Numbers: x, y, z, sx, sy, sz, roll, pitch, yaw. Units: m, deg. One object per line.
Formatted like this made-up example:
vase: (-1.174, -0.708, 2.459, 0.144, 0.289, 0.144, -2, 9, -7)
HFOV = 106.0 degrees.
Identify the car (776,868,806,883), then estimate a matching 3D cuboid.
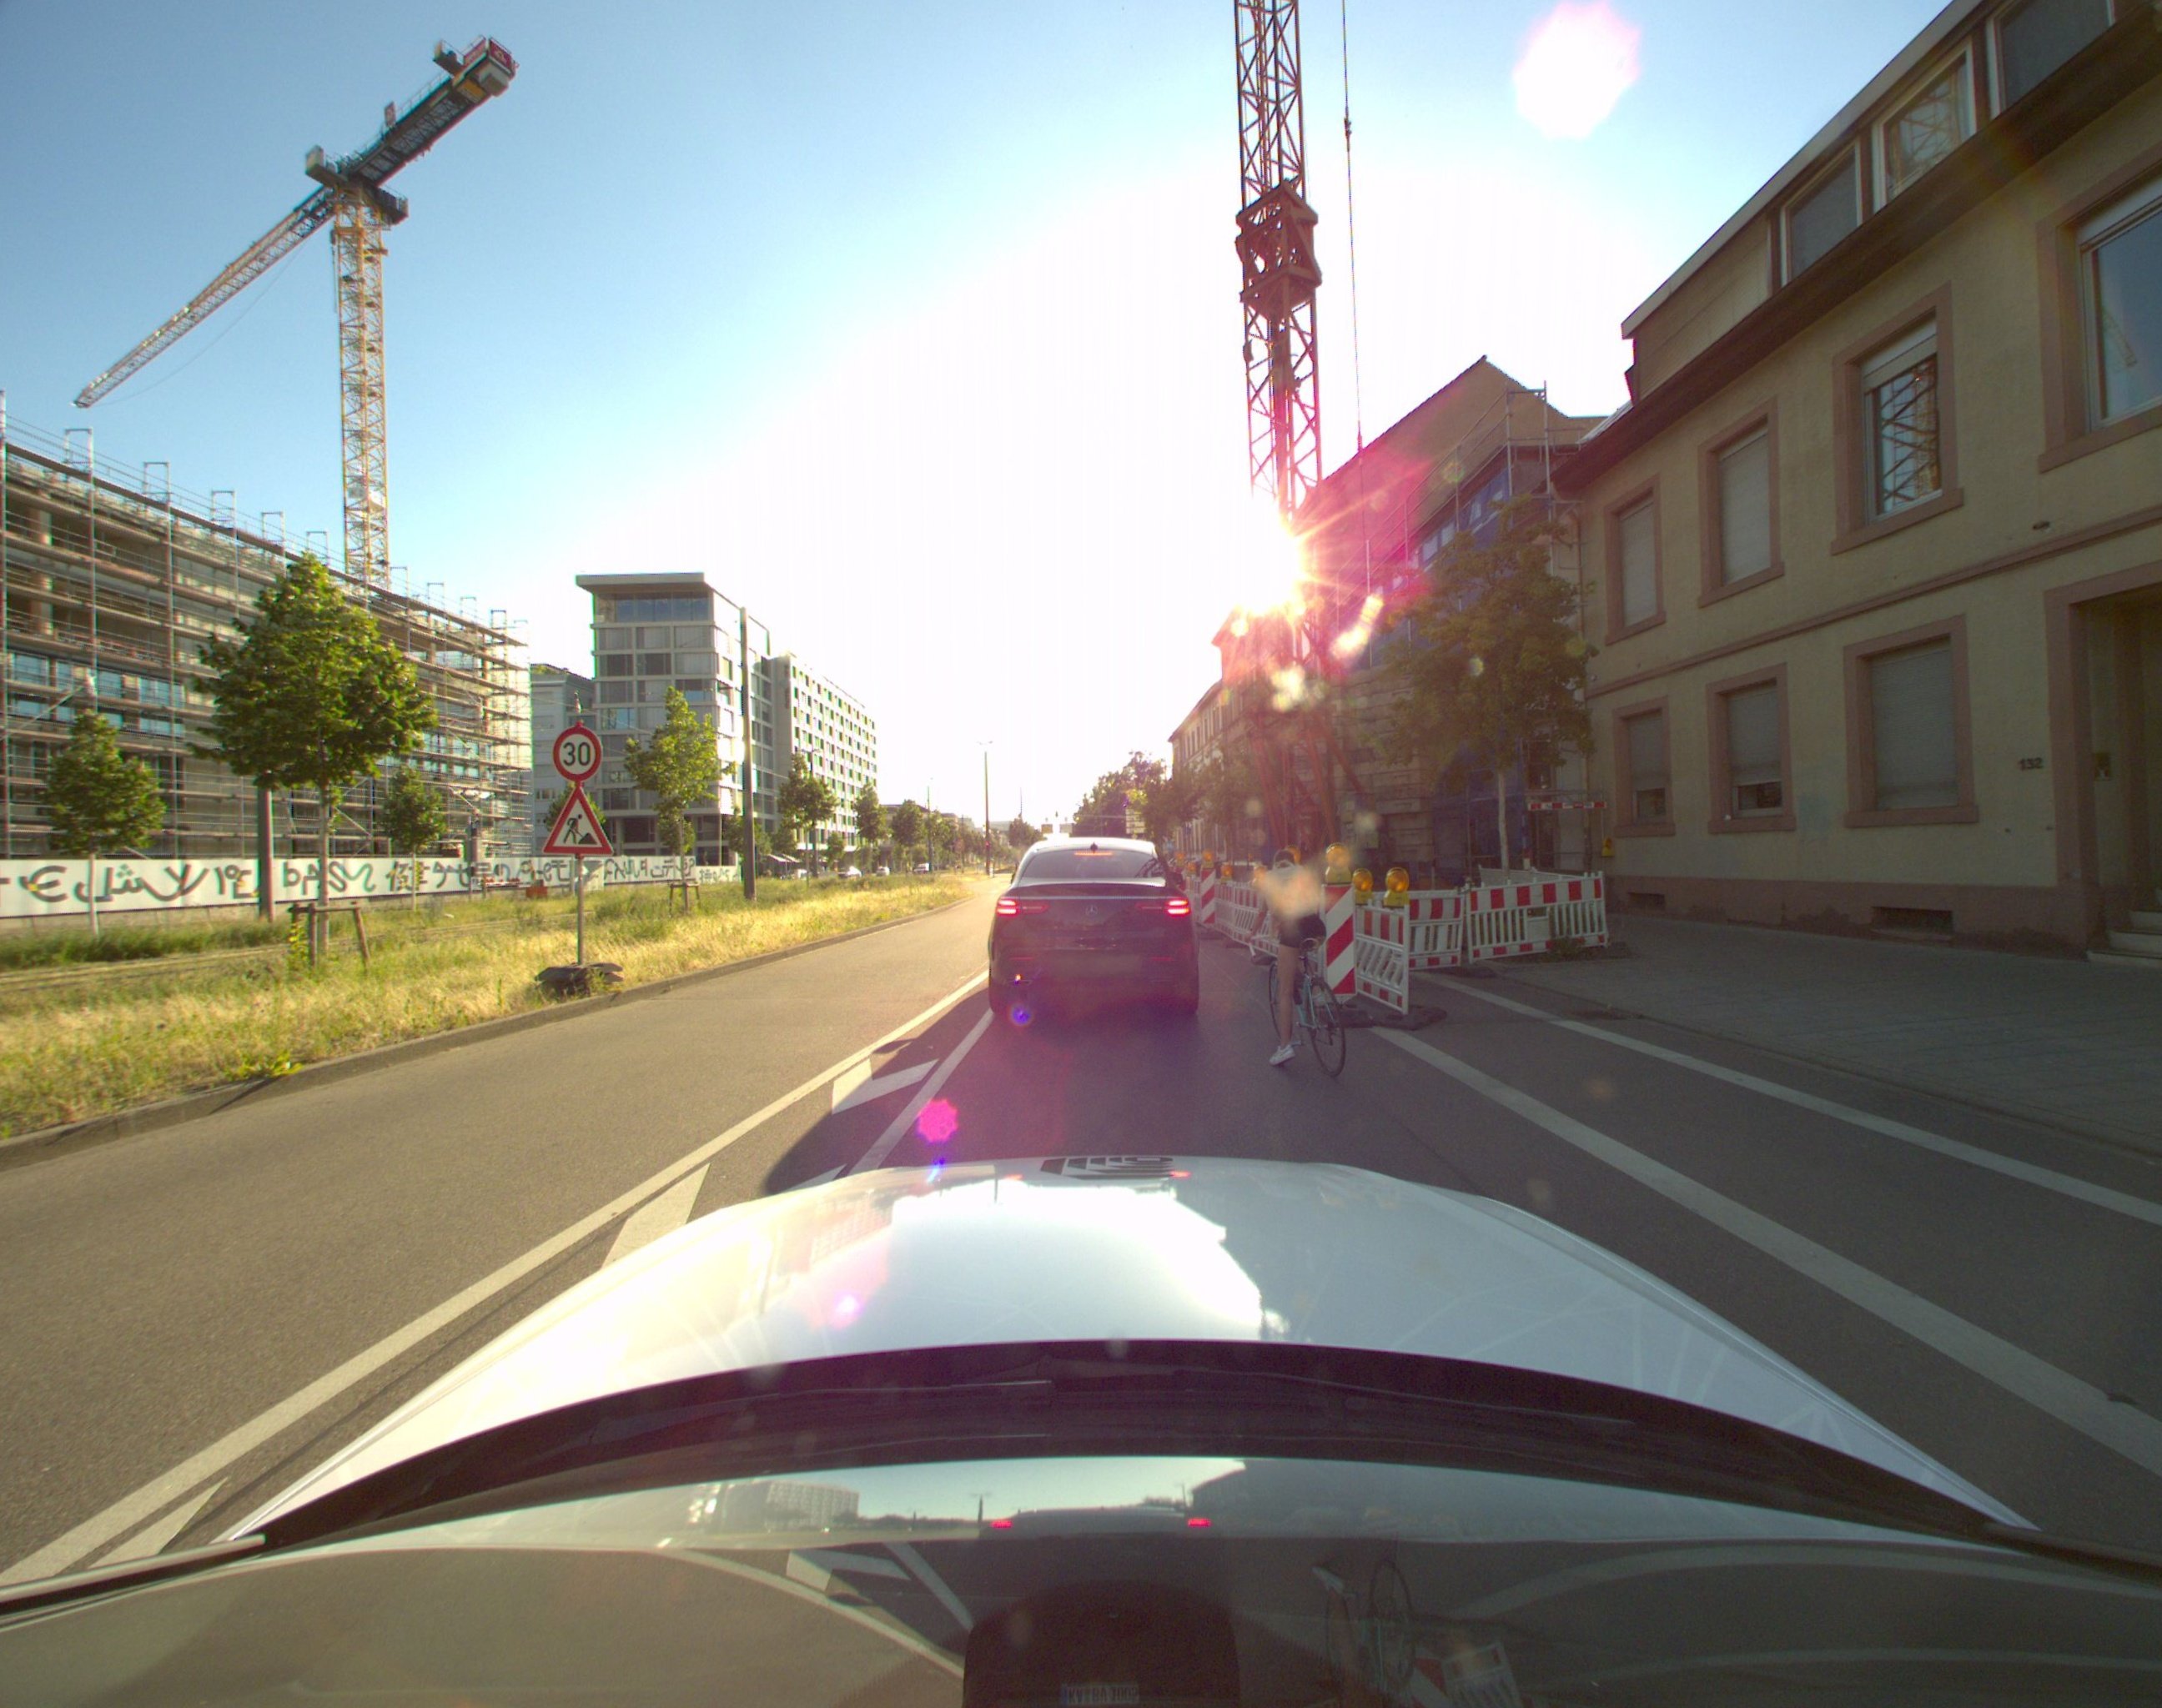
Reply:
car: (-28.767, 2.105, 80.782, 1.703, 1.442, 3.581, 0, -1, 0)

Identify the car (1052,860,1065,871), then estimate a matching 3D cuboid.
car: (-3.083, 1.595, 111.449, 1.703, 1.442, 3.581, 0, -1, 0)

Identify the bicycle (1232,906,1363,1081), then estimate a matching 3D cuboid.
bicycle: (1.593, 0.974, 6.248, 0.511, 1.052, 1.724, 0, -1, -1)

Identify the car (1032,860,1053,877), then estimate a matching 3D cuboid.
car: (-3.454, 1.283, 73.130, 1.703, 1.442, 3.581, 0, -1, 0)

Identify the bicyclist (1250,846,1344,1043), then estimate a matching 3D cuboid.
bicyclist: (1.601, 0.647, 6.107, 0.521, 1.395, 0.614, 0, -1, -1)

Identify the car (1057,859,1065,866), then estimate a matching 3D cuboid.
car: (-4.495, 1.901, 184.222, 1.703, 1.442, 3.581, 0, -1, 0)

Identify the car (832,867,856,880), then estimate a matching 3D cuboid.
car: (-26.291, 2.164, 90.462, 1.703, 1.442, 3.581, 0, -1, 0)

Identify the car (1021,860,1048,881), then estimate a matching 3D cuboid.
car: (-3.239, 1.165, 57.514, 1.703, 1.442, 3.581, 0, -1, 0)

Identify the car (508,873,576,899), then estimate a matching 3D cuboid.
car: (-32.555, 1.882, 49.291, 1.703, 1.442, 3.581, 0, -1, 0)

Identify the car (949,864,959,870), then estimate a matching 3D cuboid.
car: (-30.626, 3.046, 196.529, 1.703, 1.442, 3.581, 0, -1, 0)

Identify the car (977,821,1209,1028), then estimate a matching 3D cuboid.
car: (0.163, 0.623, 9.028, 1.986, 1.772, 4.001, 0, -1, 2)

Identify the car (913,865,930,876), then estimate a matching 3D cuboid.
car: (-22.685, 2.338, 115.599, 1.703, 1.442, 3.581, 0, -1, 0)
